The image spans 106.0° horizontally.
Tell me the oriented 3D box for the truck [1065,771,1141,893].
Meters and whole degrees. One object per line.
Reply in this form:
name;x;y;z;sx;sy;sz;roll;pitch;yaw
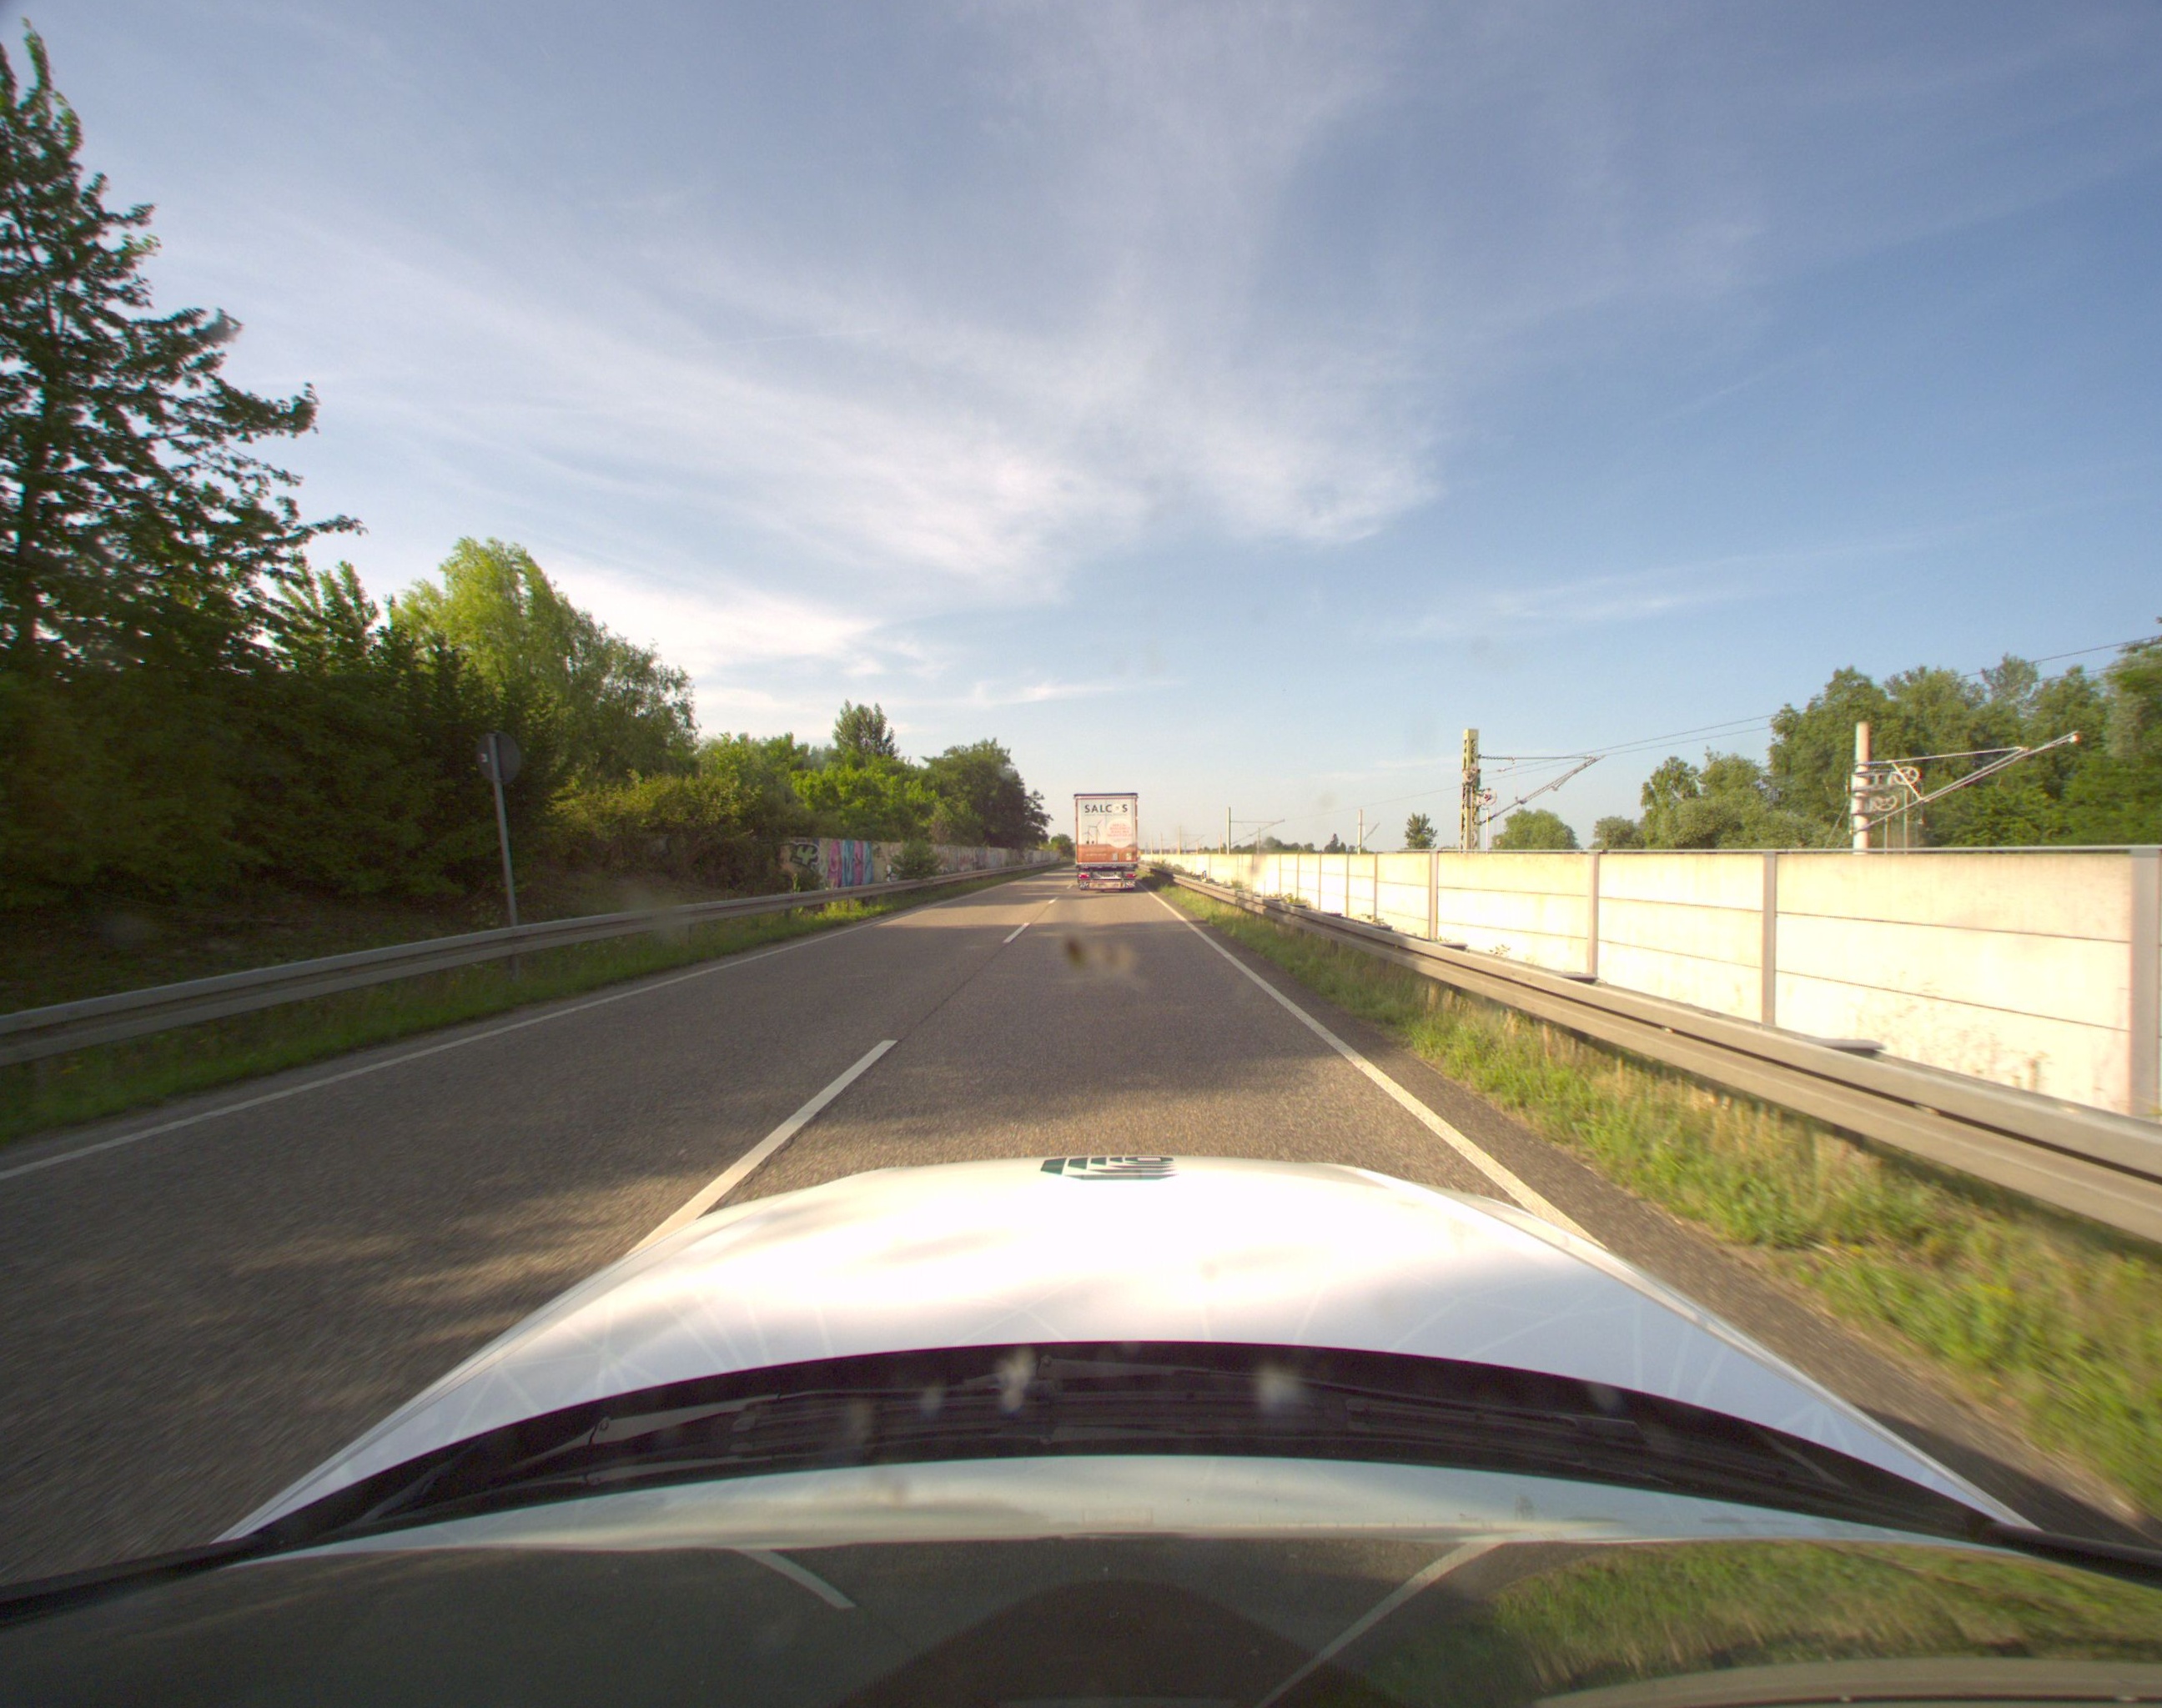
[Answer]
truck;1.023;-0.908;38.882;3.022;4.920;11.687;-1;0;1
